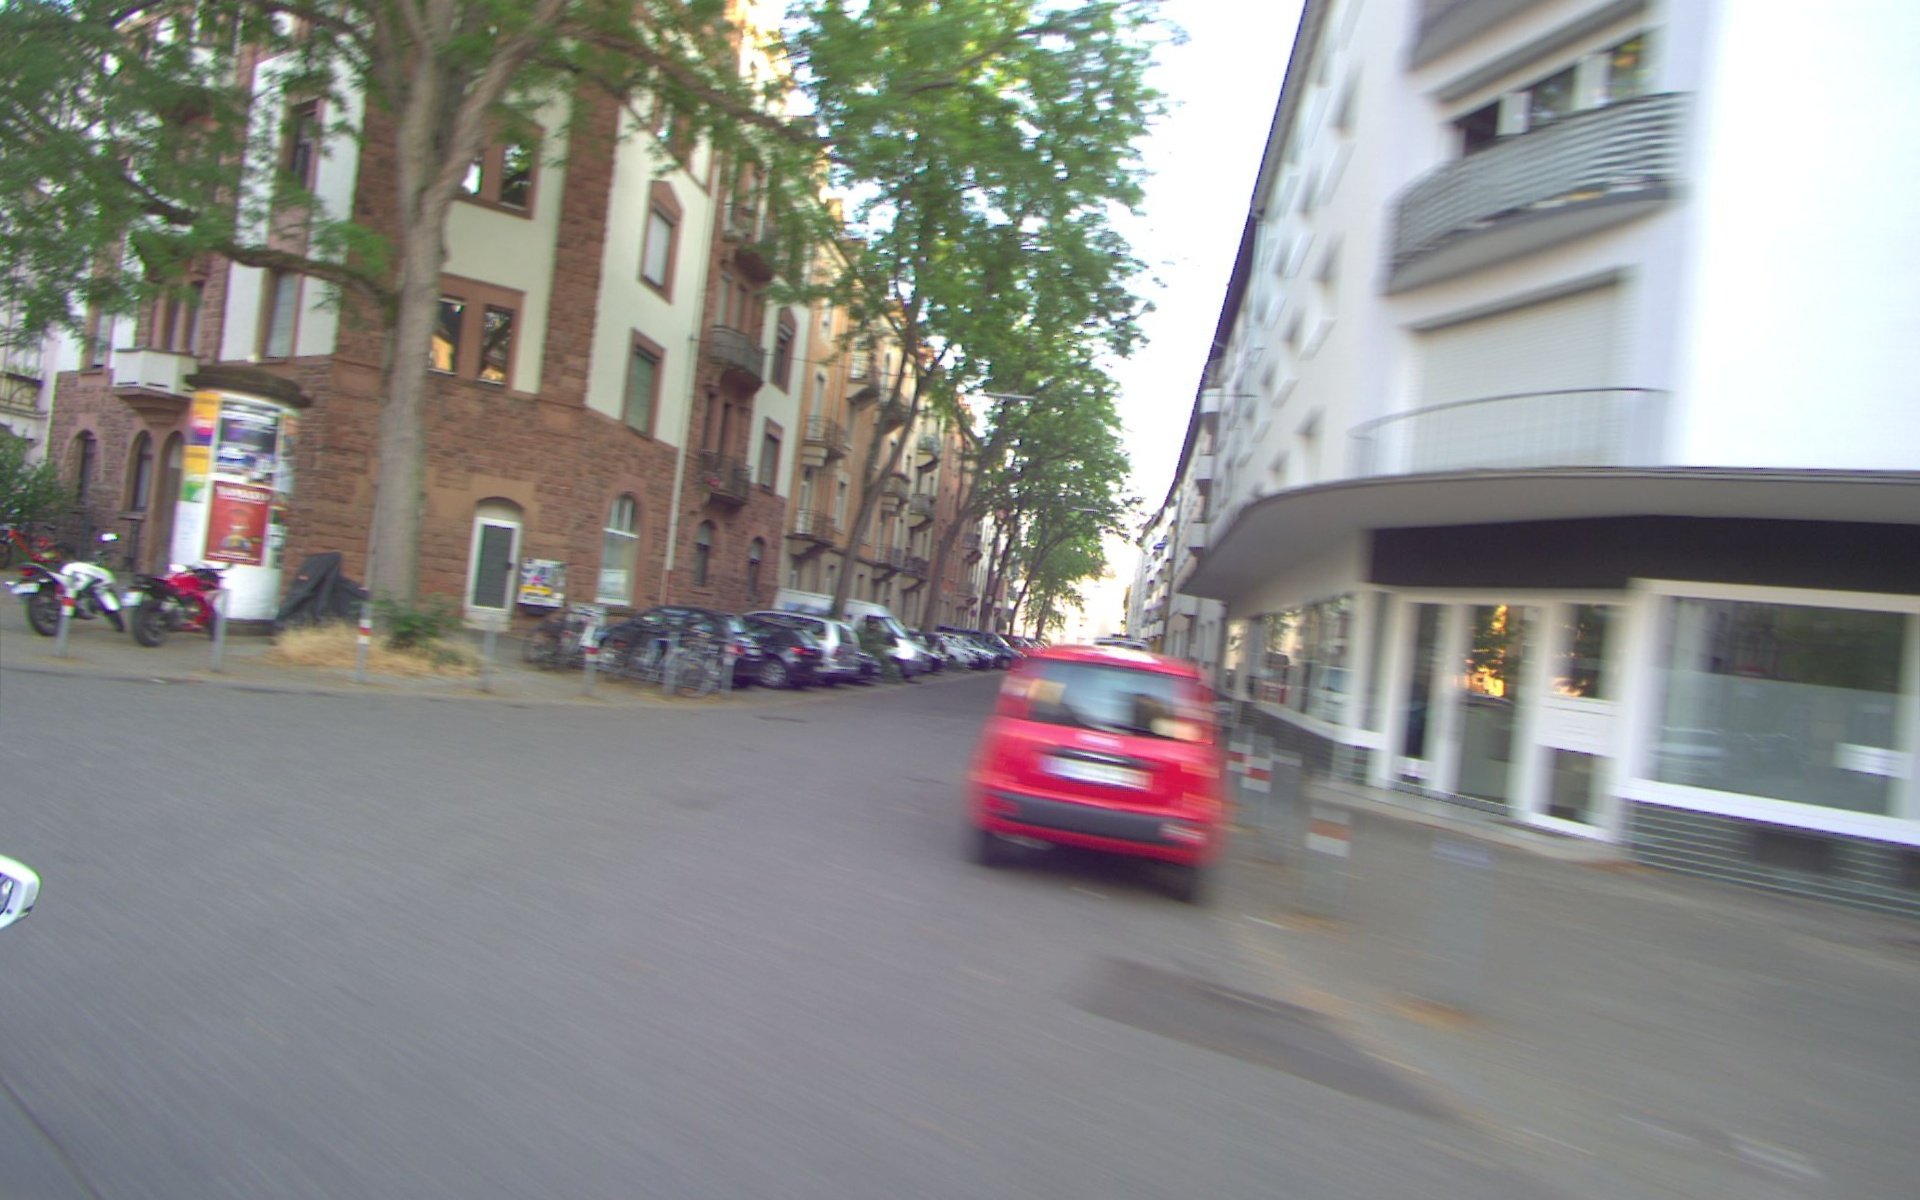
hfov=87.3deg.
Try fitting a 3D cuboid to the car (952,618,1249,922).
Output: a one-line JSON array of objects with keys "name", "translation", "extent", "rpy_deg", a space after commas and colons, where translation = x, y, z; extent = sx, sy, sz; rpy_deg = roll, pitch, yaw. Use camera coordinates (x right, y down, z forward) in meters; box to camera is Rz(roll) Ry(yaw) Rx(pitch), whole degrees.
[{"name": "car", "translation": [1.154, 1.084, 7.798], "extent": [1.595, 1.592, 3.481], "rpy_deg": [8, -1, 11]}]

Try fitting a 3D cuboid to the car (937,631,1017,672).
[{"name": "car", "translation": [0.971, 2.808, 54.962], "extent": [3.923, 1.748, 1.886], "rpy_deg": [7, -1, 12]}]

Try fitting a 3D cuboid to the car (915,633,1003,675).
[{"name": "car", "translation": [-0.042, 2.699, 50.445], "extent": [3.924, 1.570, 2.002], "rpy_deg": [6, -1, 14]}]

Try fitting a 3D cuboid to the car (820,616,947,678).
[{"name": "car", "translation": [-2.753, 1.702, 36.347], "extent": [3.926, 1.726, 2.001], "rpy_deg": [6, -1, 21]}]

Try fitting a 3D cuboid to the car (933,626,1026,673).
[{"name": "car", "translation": [1.160, 2.840, 57.324], "extent": [4.845, 2.037, 2.002], "rpy_deg": [7, -1, 10]}]

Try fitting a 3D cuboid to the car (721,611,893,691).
[{"name": "car", "translation": [-3.984, 1.363, 26.501], "extent": [3.923, 1.535, 1.861], "rpy_deg": [7, -3, 11]}]

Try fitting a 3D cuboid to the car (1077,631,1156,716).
[{"name": "car", "translation": [4.394, 2.088, 28.769], "extent": [1.871, 2.041, 4.483], "rpy_deg": [6, -3, 7]}]

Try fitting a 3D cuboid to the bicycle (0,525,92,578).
[{"name": "bicycle", "translation": [-20.995, -1.094, 23.105], "extent": [0.325, 1.047, 1.512], "rpy_deg": [8, 0, 28]}]

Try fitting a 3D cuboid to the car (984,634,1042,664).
[{"name": "car", "translation": [4.059, 3.731, 76.597], "extent": [3.924, 1.810, 2.002], "rpy_deg": [7, -1, 15]}]

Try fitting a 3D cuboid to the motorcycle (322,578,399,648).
[{"name": "motorcycle", "translation": [-10.262, 0.196, 17.292], "extent": [0.431, 1.092, 2.104], "rpy_deg": [7, -1, -14]}]

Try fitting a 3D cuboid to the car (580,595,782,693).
[{"name": "car", "translation": [-5.539, 0.883, 20.161], "extent": [3.367, 1.494, 1.683], "rpy_deg": [7, -2, 13]}]

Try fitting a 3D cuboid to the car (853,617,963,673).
[{"name": "car", "translation": [-2.158, 1.887, 41.906], "extent": [3.926, 1.837, 2.001], "rpy_deg": [6, -1, 21]}]

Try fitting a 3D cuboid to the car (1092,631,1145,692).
[{"name": "car", "translation": [6.584, 2.590, 42.094], "extent": [1.871, 2.225, 4.483], "rpy_deg": [6, -3, 9]}]

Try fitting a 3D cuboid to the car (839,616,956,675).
[{"name": "car", "translation": [-2.376, 1.756, 38.907], "extent": [3.924, 1.748, 2.002], "rpy_deg": [7, -1, 15]}]

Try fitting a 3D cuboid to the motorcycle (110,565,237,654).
[{"name": "motorcycle", "translation": [-10.858, 0.108, 13.972], "extent": [0.431, 1.092, 2.206], "rpy_deg": [7, -1, -14]}]

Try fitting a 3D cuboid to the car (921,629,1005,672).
[{"name": "car", "translation": [0.191, 2.650, 52.674], "extent": [3.923, 1.748, 2.002], "rpy_deg": [7, -1, 12]}]

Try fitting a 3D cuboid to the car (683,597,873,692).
[{"name": "car", "translation": [-4.405, 1.082, 24.631], "extent": [4.064, 1.741, 1.779], "rpy_deg": [7, -1, 10]}]

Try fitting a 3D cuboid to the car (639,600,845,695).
[{"name": "car", "translation": [-4.814, 1.048, 22.418], "extent": [3.923, 1.572, 1.828], "rpy_deg": [7, -1, 13]}]

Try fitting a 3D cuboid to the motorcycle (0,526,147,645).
[{"name": "motorcycle", "translation": [-12.012, -0.200, 13.642], "extent": [0.576, 1.425, 2.205], "rpy_deg": [7, 0, -15]}]

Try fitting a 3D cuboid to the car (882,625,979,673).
[{"name": "car", "translation": [-1.322, 2.229, 45.659], "extent": [3.924, 1.690, 1.778], "rpy_deg": [6, -1, 14]}]

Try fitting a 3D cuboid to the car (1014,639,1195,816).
[{"name": "car", "translation": [1.737, 1.385, 11.907], "extent": [1.595, 1.524, 3.903], "rpy_deg": [8, -2, 10]}]

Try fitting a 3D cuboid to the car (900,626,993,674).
[{"name": "car", "translation": [-0.629, 2.367, 47.929], "extent": [3.923, 1.770, 2.002], "rpy_deg": [7, -1, 13]}]

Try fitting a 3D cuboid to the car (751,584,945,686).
[{"name": "car", "translation": [-3.475, 1.112, 31.887], "extent": [5.443, 2.447, 2.402], "rpy_deg": [7, -1, 8]}]

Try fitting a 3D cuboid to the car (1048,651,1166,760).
[{"name": "car", "translation": [2.451, 1.710, 17.132], "extent": [1.625, 1.445, 4.241], "rpy_deg": [6, -3, 7]}]
